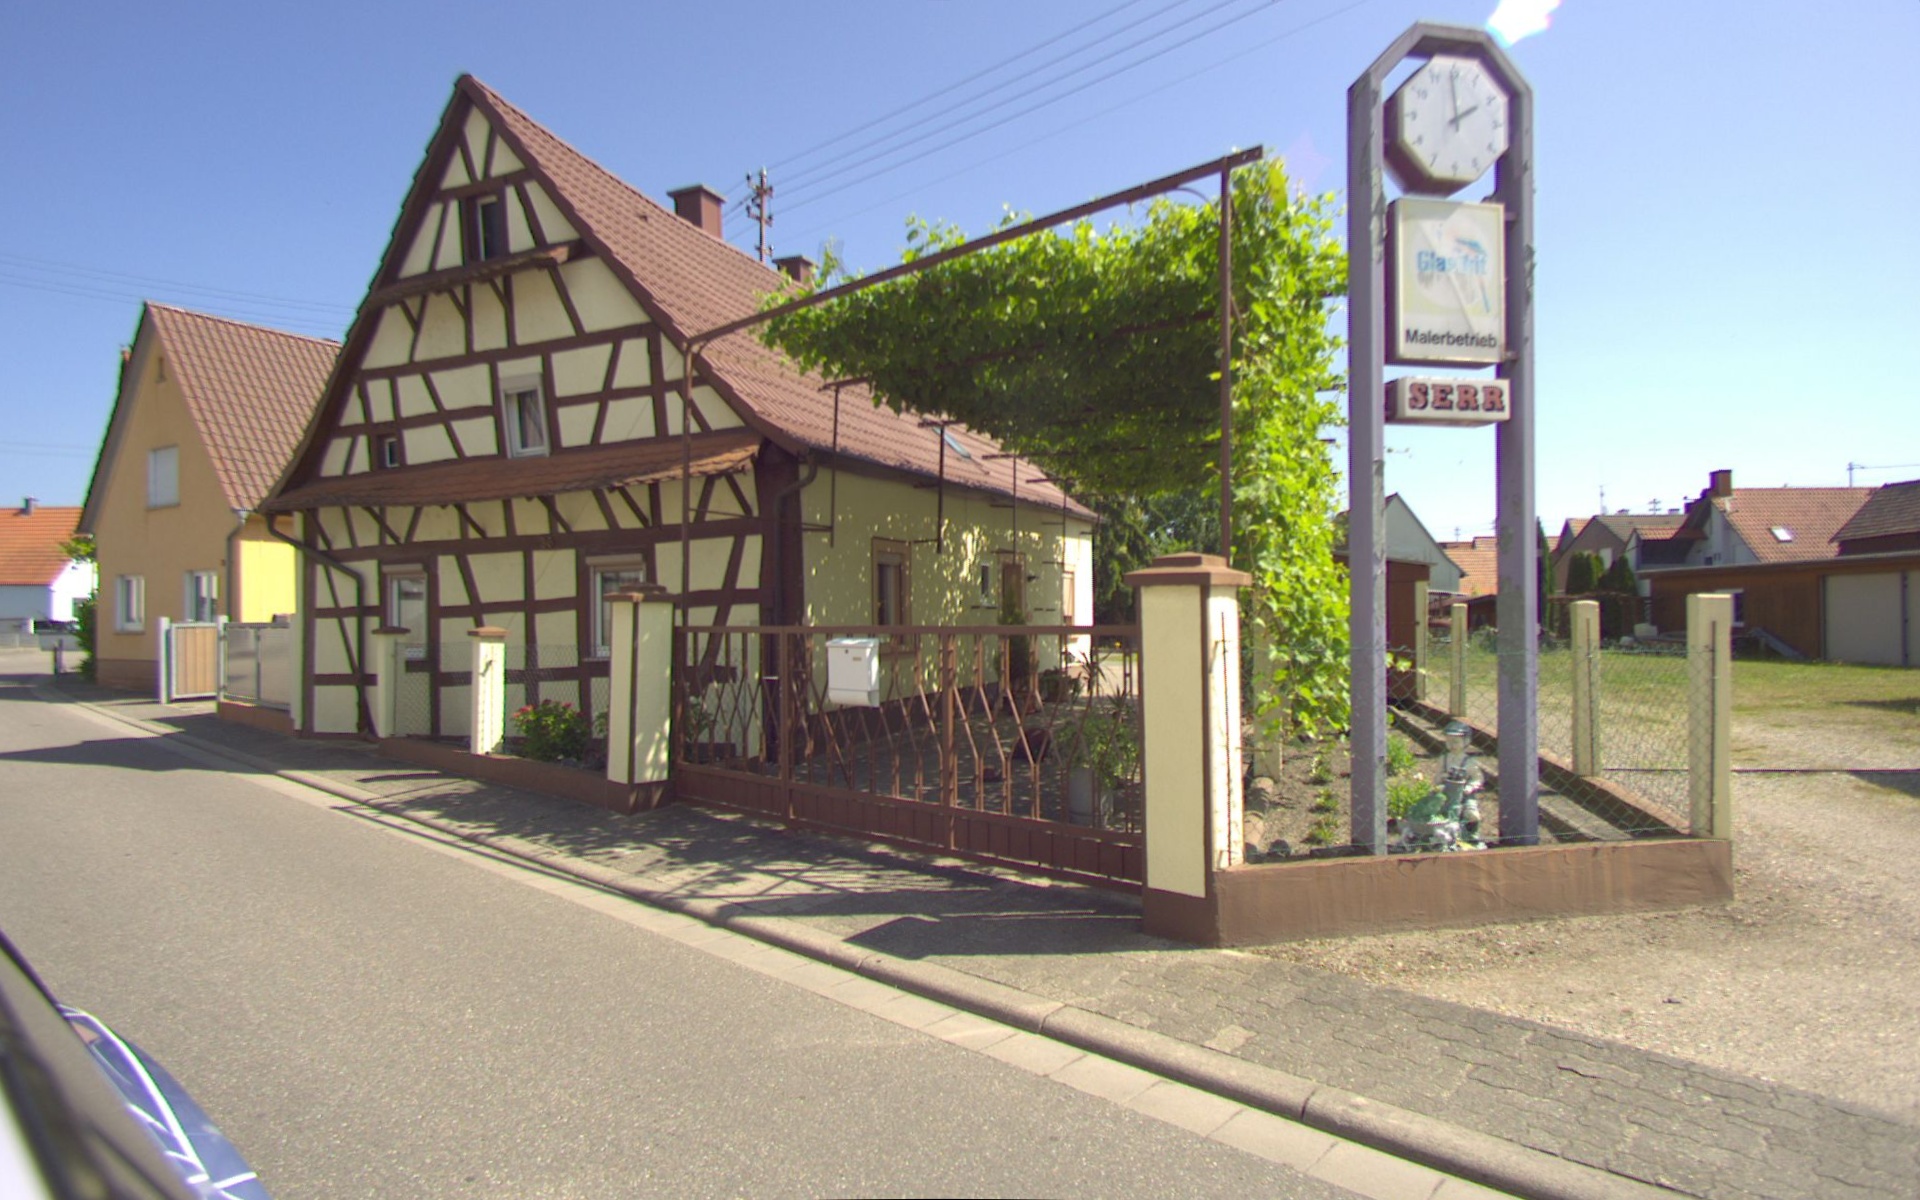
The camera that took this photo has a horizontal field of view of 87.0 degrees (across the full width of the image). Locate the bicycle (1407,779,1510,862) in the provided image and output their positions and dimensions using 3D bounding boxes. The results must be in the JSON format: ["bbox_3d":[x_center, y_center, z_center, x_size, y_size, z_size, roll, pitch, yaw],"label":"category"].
[{"bbox_3d":[2.478,1.085,5.023,0.526,0.307,0.220,0,-1,-34],"label":"bicycle"}]

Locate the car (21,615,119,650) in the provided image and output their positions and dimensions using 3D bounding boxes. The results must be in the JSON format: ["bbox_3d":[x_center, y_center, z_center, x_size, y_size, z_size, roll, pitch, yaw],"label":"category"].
[{"bbox_3d":[-49.163,1.772,55.934,3.944,1.859,1.702,-1,-1,1],"label":"car"}]

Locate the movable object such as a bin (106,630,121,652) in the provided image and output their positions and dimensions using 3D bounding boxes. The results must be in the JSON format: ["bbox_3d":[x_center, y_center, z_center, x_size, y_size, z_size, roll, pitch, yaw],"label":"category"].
[{"bbox_3d":[-45.499,2.206,54.389,0.432,1.152,0.563,-1,-1,40],"label":"movable object such as a bin"}]

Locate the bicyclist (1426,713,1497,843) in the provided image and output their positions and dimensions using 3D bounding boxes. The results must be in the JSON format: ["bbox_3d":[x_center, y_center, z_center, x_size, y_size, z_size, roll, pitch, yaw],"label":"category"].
[{"bbox_3d":[2.492,0.874,5.033,0.243,0.586,0.219,-1,0,-34],"label":"bicyclist"}]
